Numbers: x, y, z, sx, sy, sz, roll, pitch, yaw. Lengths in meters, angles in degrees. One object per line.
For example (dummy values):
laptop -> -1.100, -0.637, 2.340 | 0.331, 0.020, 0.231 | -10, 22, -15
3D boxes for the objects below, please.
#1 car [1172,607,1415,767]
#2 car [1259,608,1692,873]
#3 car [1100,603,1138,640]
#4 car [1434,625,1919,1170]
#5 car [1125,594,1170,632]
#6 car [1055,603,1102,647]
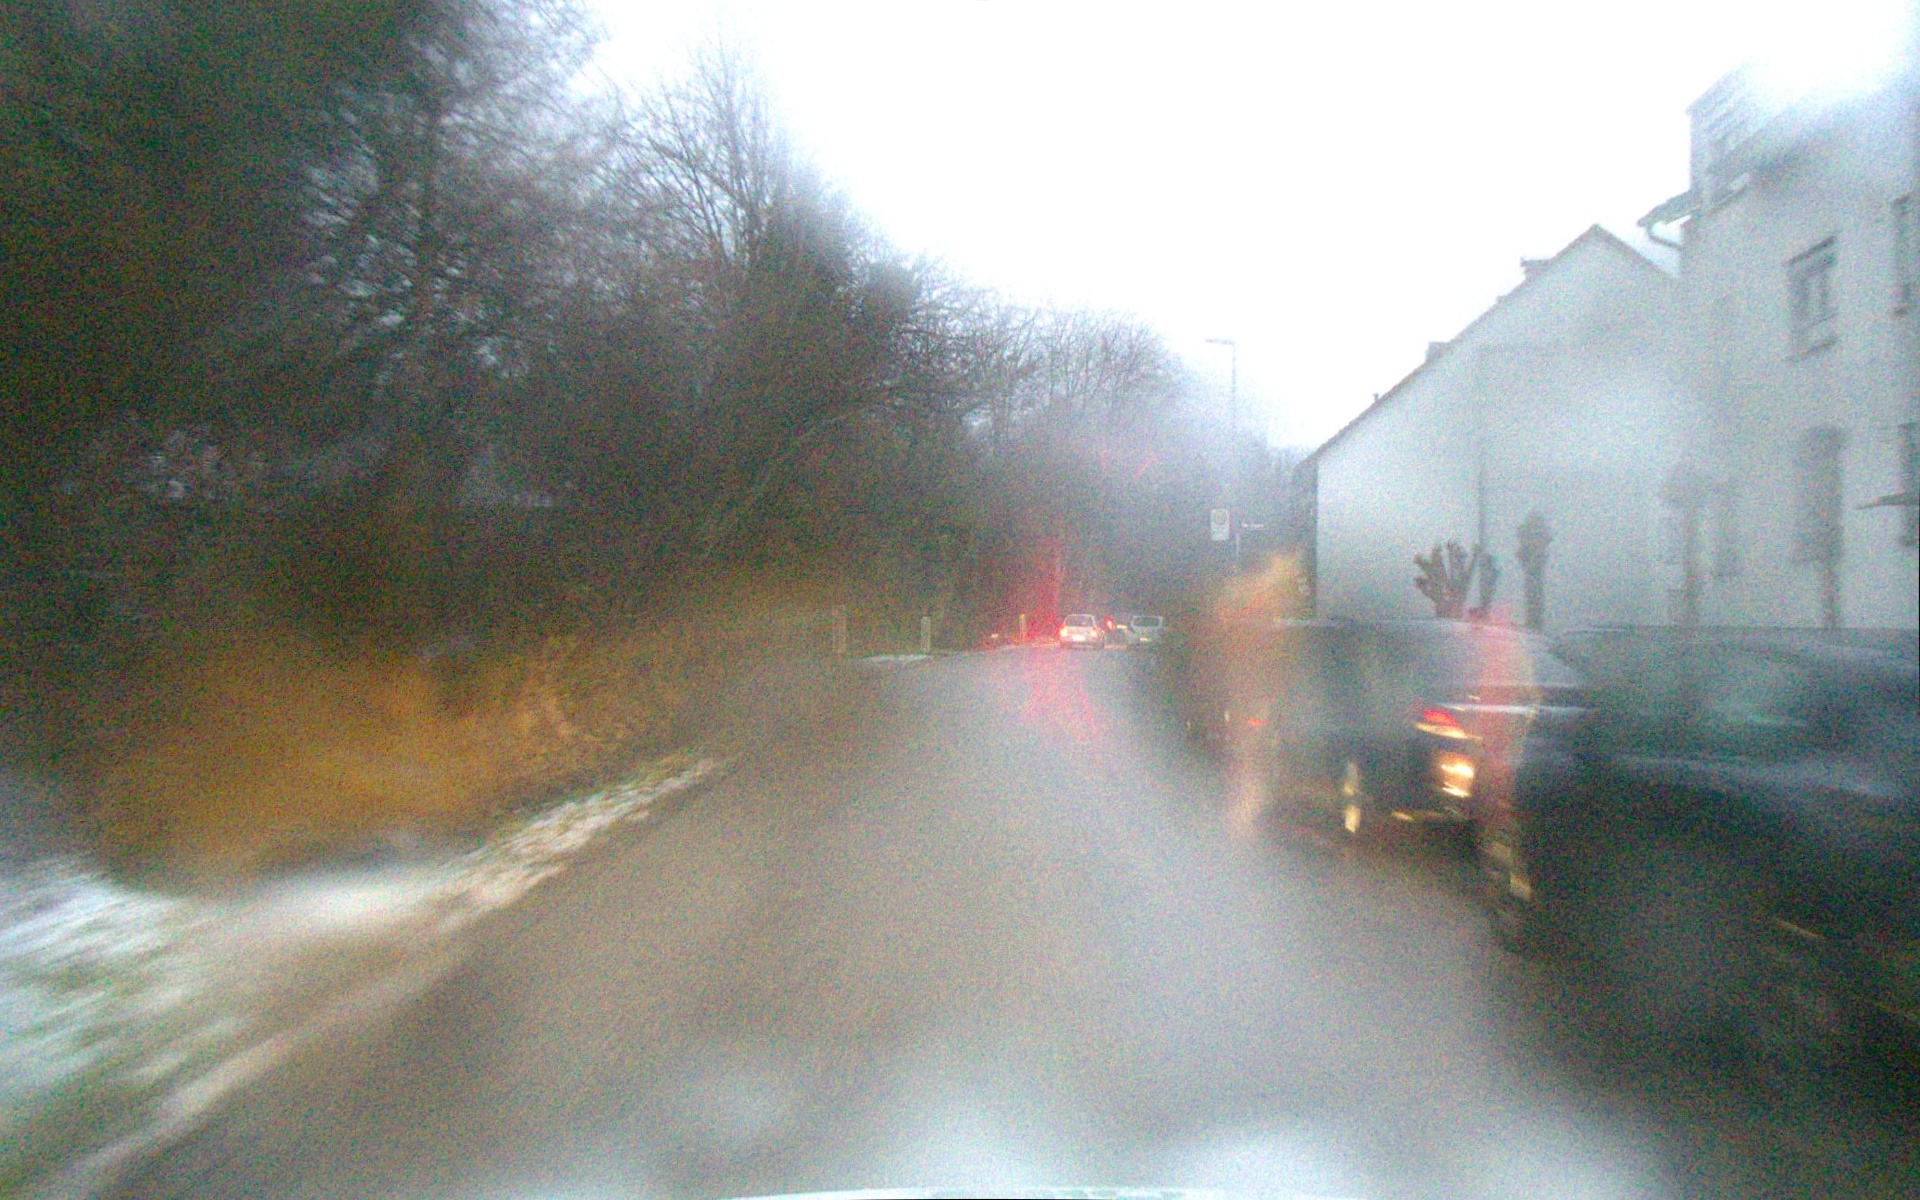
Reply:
car -> 3.464, 0.857, 17.973 | 1.702, 1.454, 4.456 | 2, -1, 0
car -> 3.369, 0.831, 11.760 | 1.622, 1.454, 4.563 | 2, -1, 0
car -> 7.927, 1.050, 82.246 | 1.653, 1.806, 3.864 | 0, 0, 9
car -> 3.304, 0.813, 6.331 | 1.622, 1.414, 4.531 | 0, -1, -1
car -> 8.003, 0.552, 70.313 | 1.667, 1.532, 4.028 | 1, -1, 9
car -> 4.929, 1.020, 69.002 | 1.892, 1.812, 4.002 | 0, 0, 4
